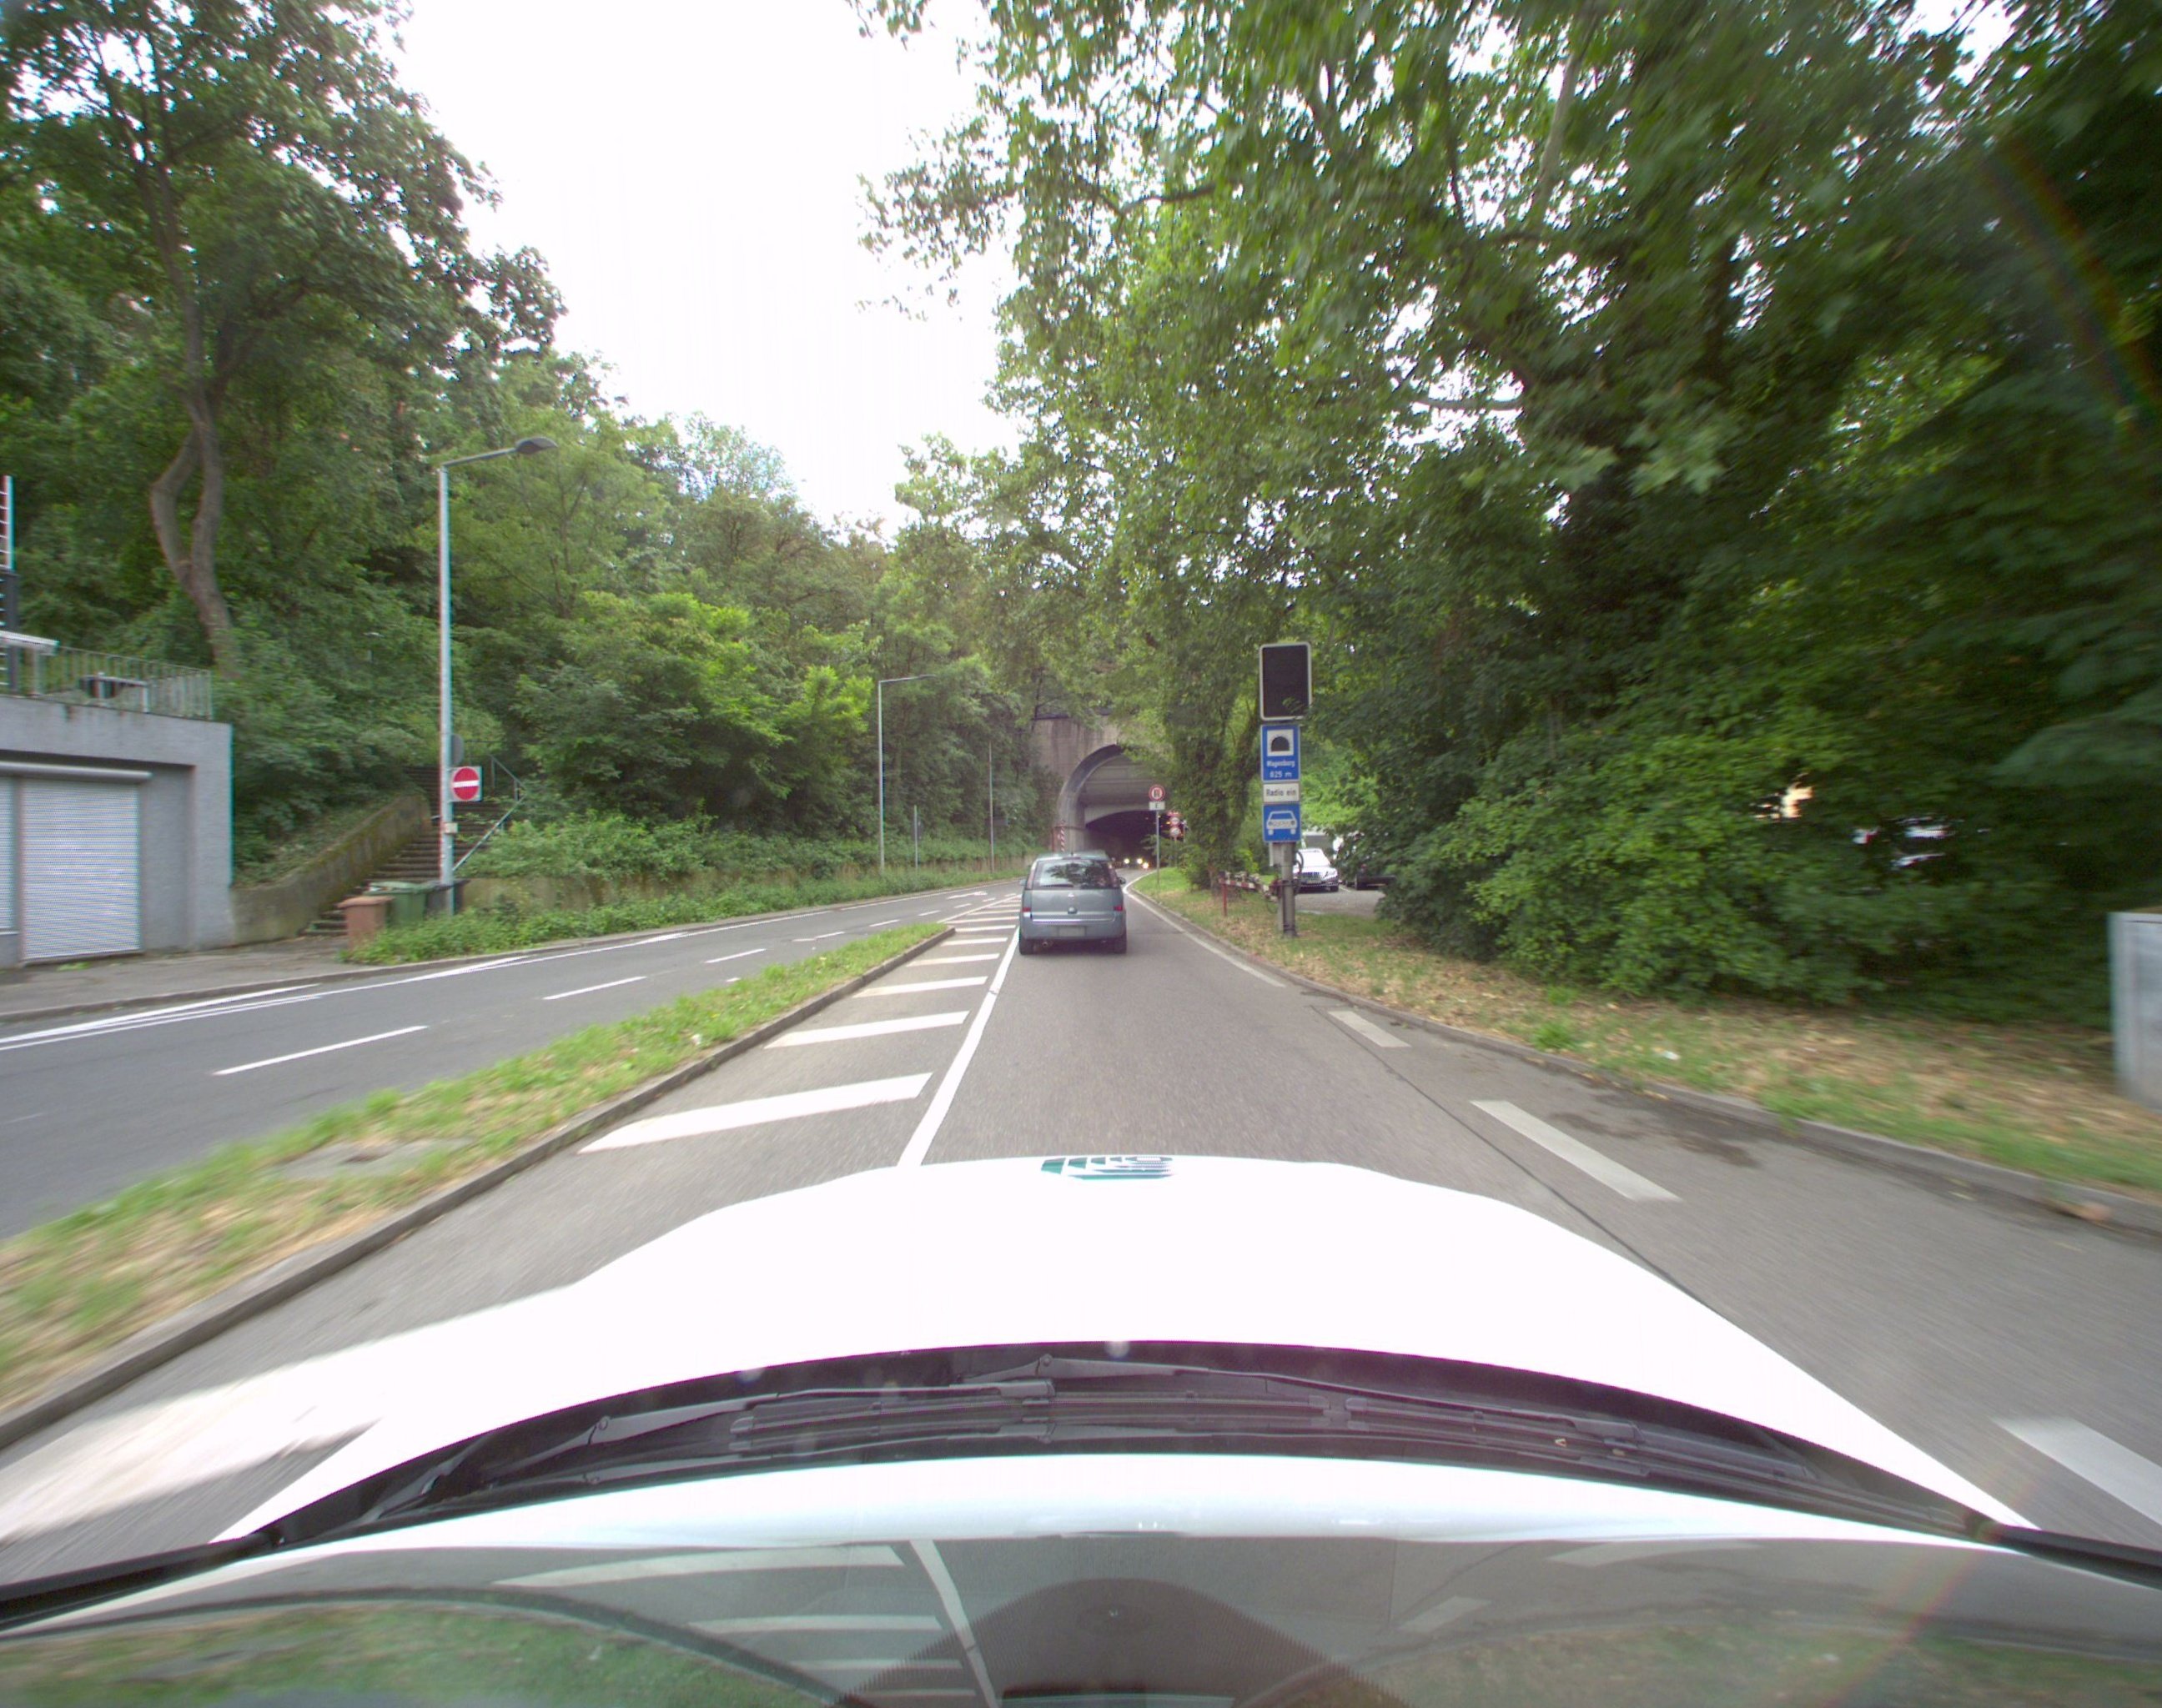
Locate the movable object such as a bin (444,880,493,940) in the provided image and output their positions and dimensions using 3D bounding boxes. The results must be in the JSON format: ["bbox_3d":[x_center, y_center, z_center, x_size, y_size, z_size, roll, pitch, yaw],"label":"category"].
[{"bbox_3d":[-11.089,1.004,14.756,0.554,1.025,0.430,1,1,-2],"label":"movable object such as a bin"}]

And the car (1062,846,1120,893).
[{"bbox_3d":[0.494,0.595,34.568,1.983,1.653,4.009,-2,2,7],"label":"car"}]

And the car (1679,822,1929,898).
[{"bbox_3d":[16.161,0.128,18.536,1.730,1.428,4.121,-4,0,-6],"label":"car"}]

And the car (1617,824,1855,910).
[{"bbox_3d":[14.158,0.243,17.955,1.728,1.569,4.126,-4,0,-3],"label":"car"}]

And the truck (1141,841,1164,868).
[{"bbox_3d":[10.115,0.065,114.904,2.659,3.666,7.537,-1,0,9],"label":"truck"}]

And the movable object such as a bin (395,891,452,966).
[{"bbox_3d":[-10.944,1.226,13.560,0.579,1.185,0.430,1,1,-2],"label":"movable object such as a bin"}]

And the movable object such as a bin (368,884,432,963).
[{"bbox_3d":[-10.906,1.103,13.057,0.603,1.185,0.492,1,1,-2],"label":"movable object such as a bin"}]

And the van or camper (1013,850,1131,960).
[{"bbox_3d":[-0.157,0.744,13.892,1.730,1.578,3.645,0,1,-1],"label":"van or camper"}]

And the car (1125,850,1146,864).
[{"bbox_3d":[6.170,0.337,92.007,1.856,1.371,4.470,-3,1,11],"label":"car"}]

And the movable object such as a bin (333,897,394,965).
[{"bbox_3d":[-10.993,1.174,12.487,0.514,0.967,0.444,1,1,-2],"label":"movable object such as a bin"}]

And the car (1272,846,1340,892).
[{"bbox_3d":[8.132,0.468,29.872,1.775,1.442,5.075,-2,1,9],"label":"car"}]

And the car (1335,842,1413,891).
[{"bbox_3d":[10.567,0.387,29.676,1.775,1.558,4.606,-2,1,9],"label":"car"}]
